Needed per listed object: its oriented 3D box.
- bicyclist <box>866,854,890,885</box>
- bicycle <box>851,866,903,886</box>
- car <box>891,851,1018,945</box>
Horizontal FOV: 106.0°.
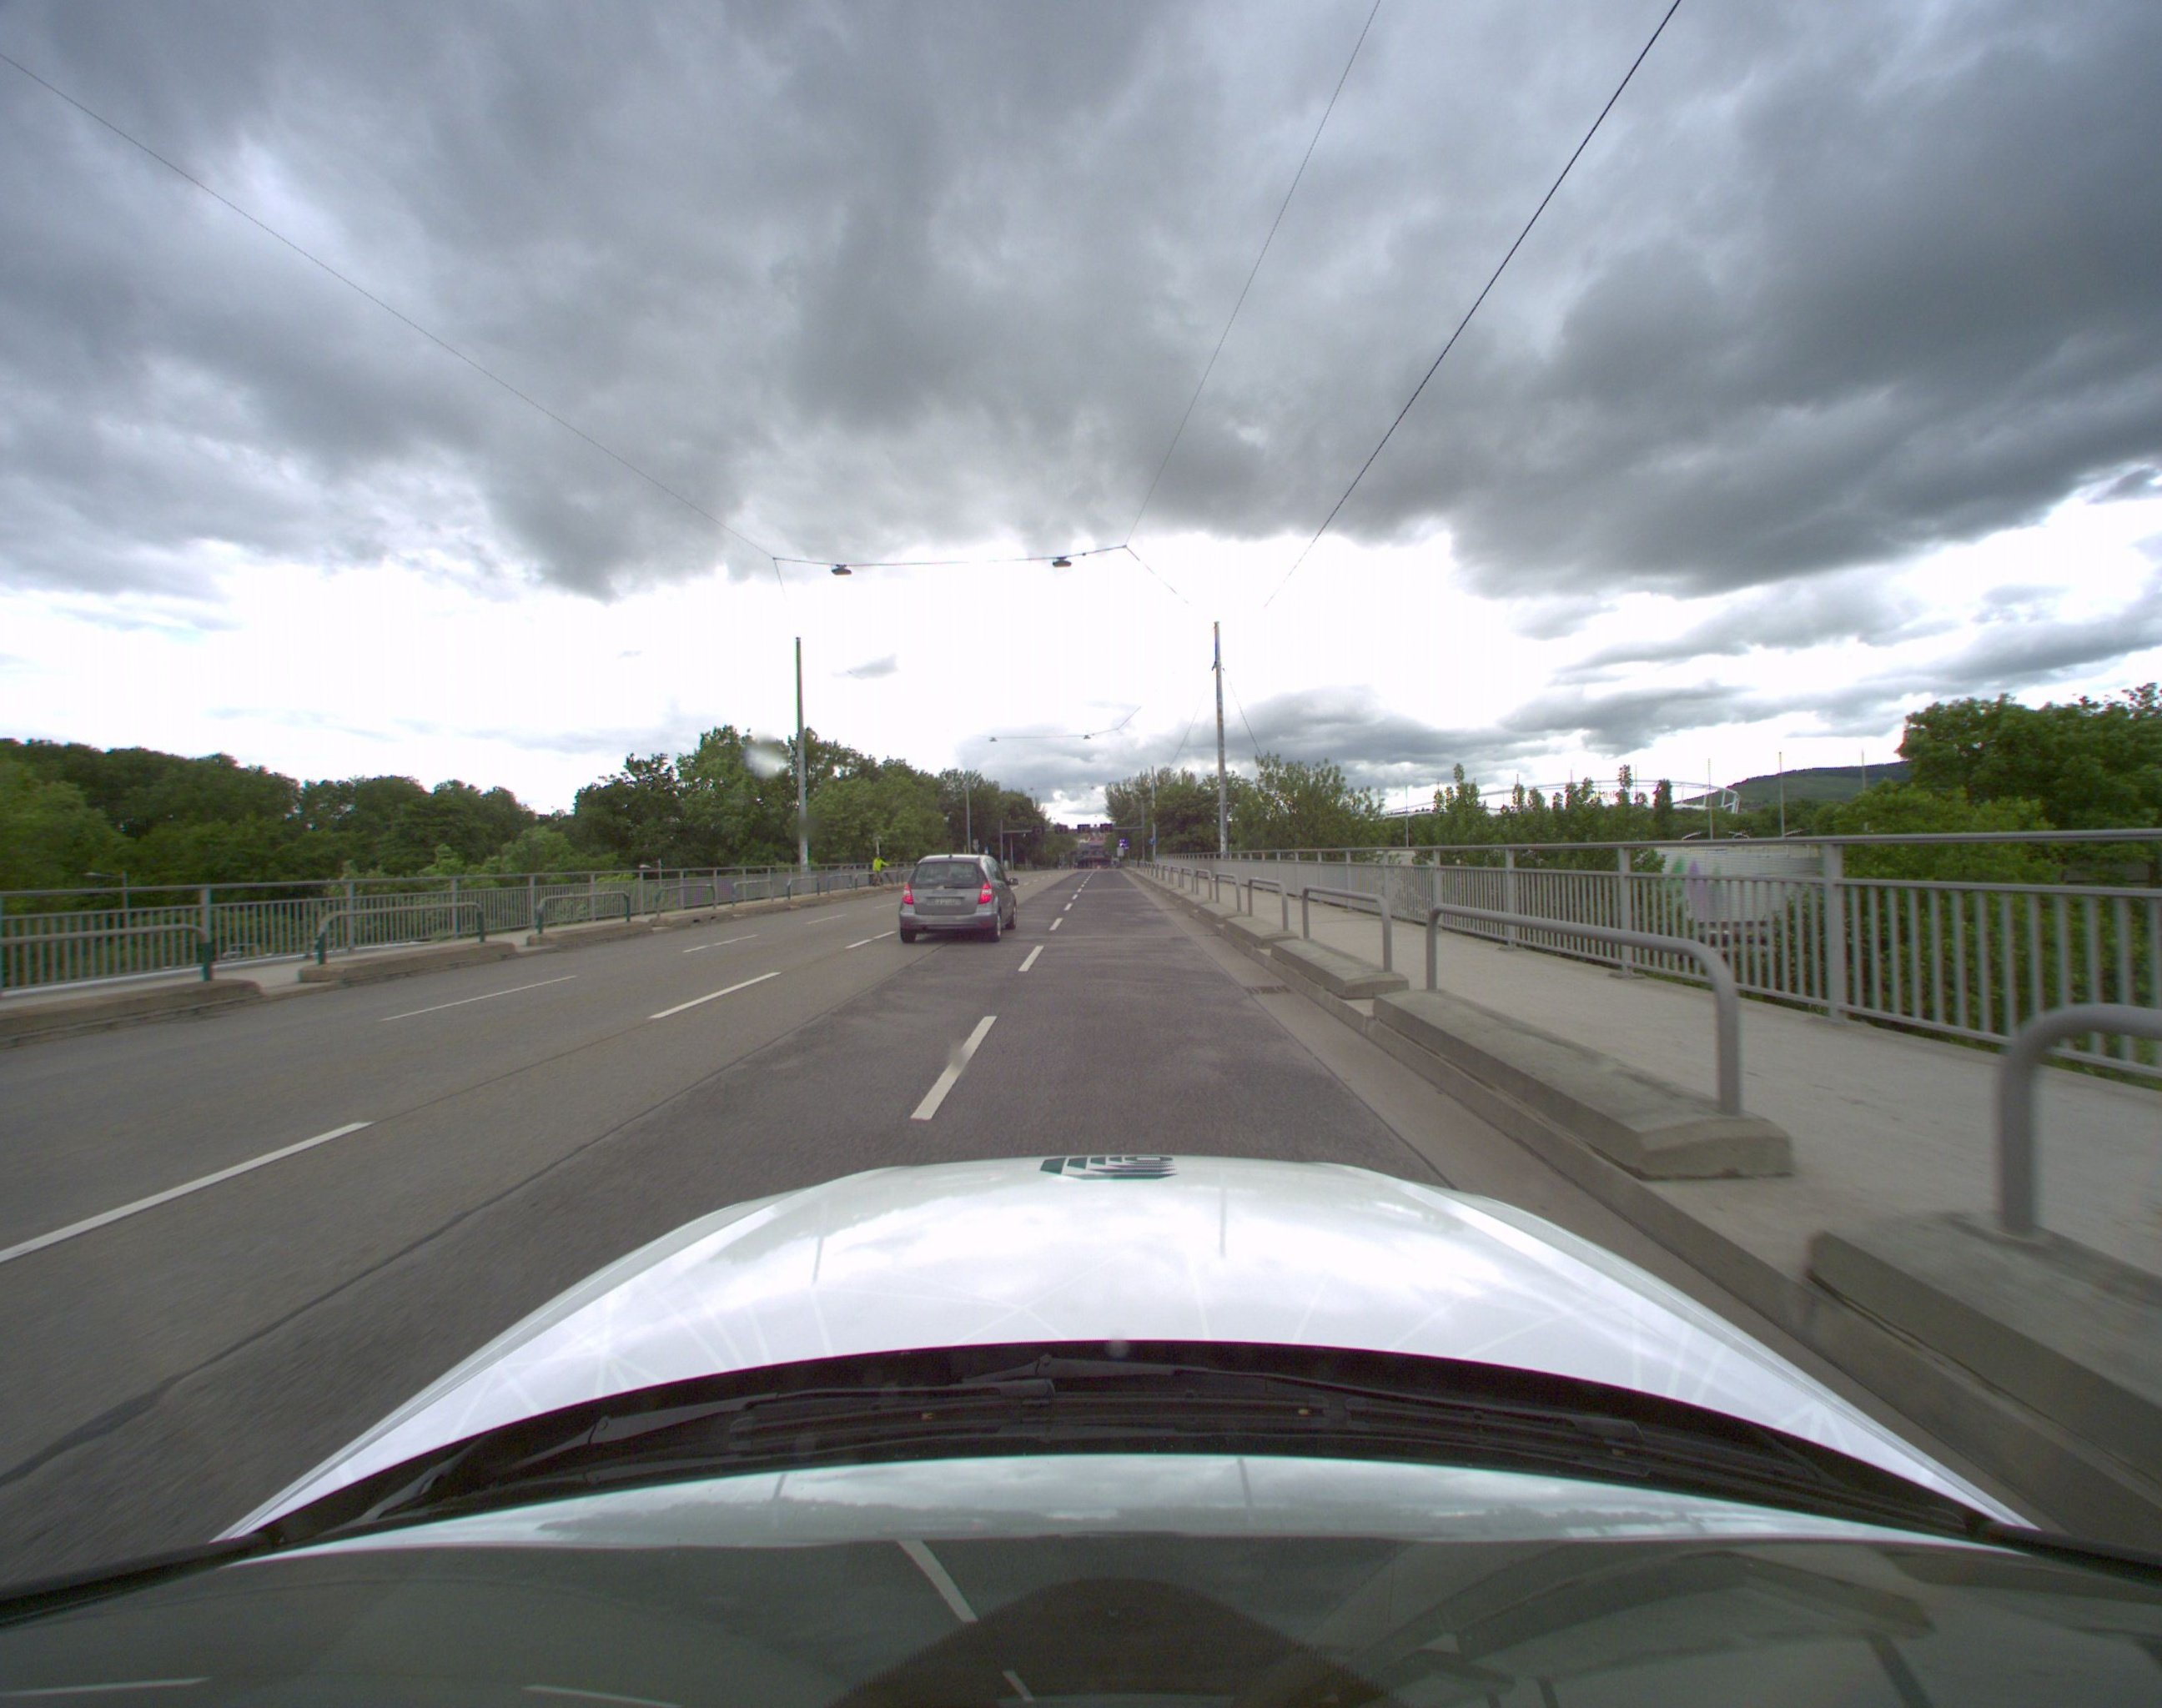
[{"bbox_3d":[-11.663,0.881,46.730,1.130,1.764,0.904,-1,0,-4],"label":"bicyclist"},{"bbox_3d":[-11.684,1.250,46.728,2.785,1.051,0.919,-1,0,-4],"label":"bicycle"},{"bbox_3d":[-2.293,0.745,15.727,1.739,1.550,3.872,-1,0,1],"label":"car"}]
